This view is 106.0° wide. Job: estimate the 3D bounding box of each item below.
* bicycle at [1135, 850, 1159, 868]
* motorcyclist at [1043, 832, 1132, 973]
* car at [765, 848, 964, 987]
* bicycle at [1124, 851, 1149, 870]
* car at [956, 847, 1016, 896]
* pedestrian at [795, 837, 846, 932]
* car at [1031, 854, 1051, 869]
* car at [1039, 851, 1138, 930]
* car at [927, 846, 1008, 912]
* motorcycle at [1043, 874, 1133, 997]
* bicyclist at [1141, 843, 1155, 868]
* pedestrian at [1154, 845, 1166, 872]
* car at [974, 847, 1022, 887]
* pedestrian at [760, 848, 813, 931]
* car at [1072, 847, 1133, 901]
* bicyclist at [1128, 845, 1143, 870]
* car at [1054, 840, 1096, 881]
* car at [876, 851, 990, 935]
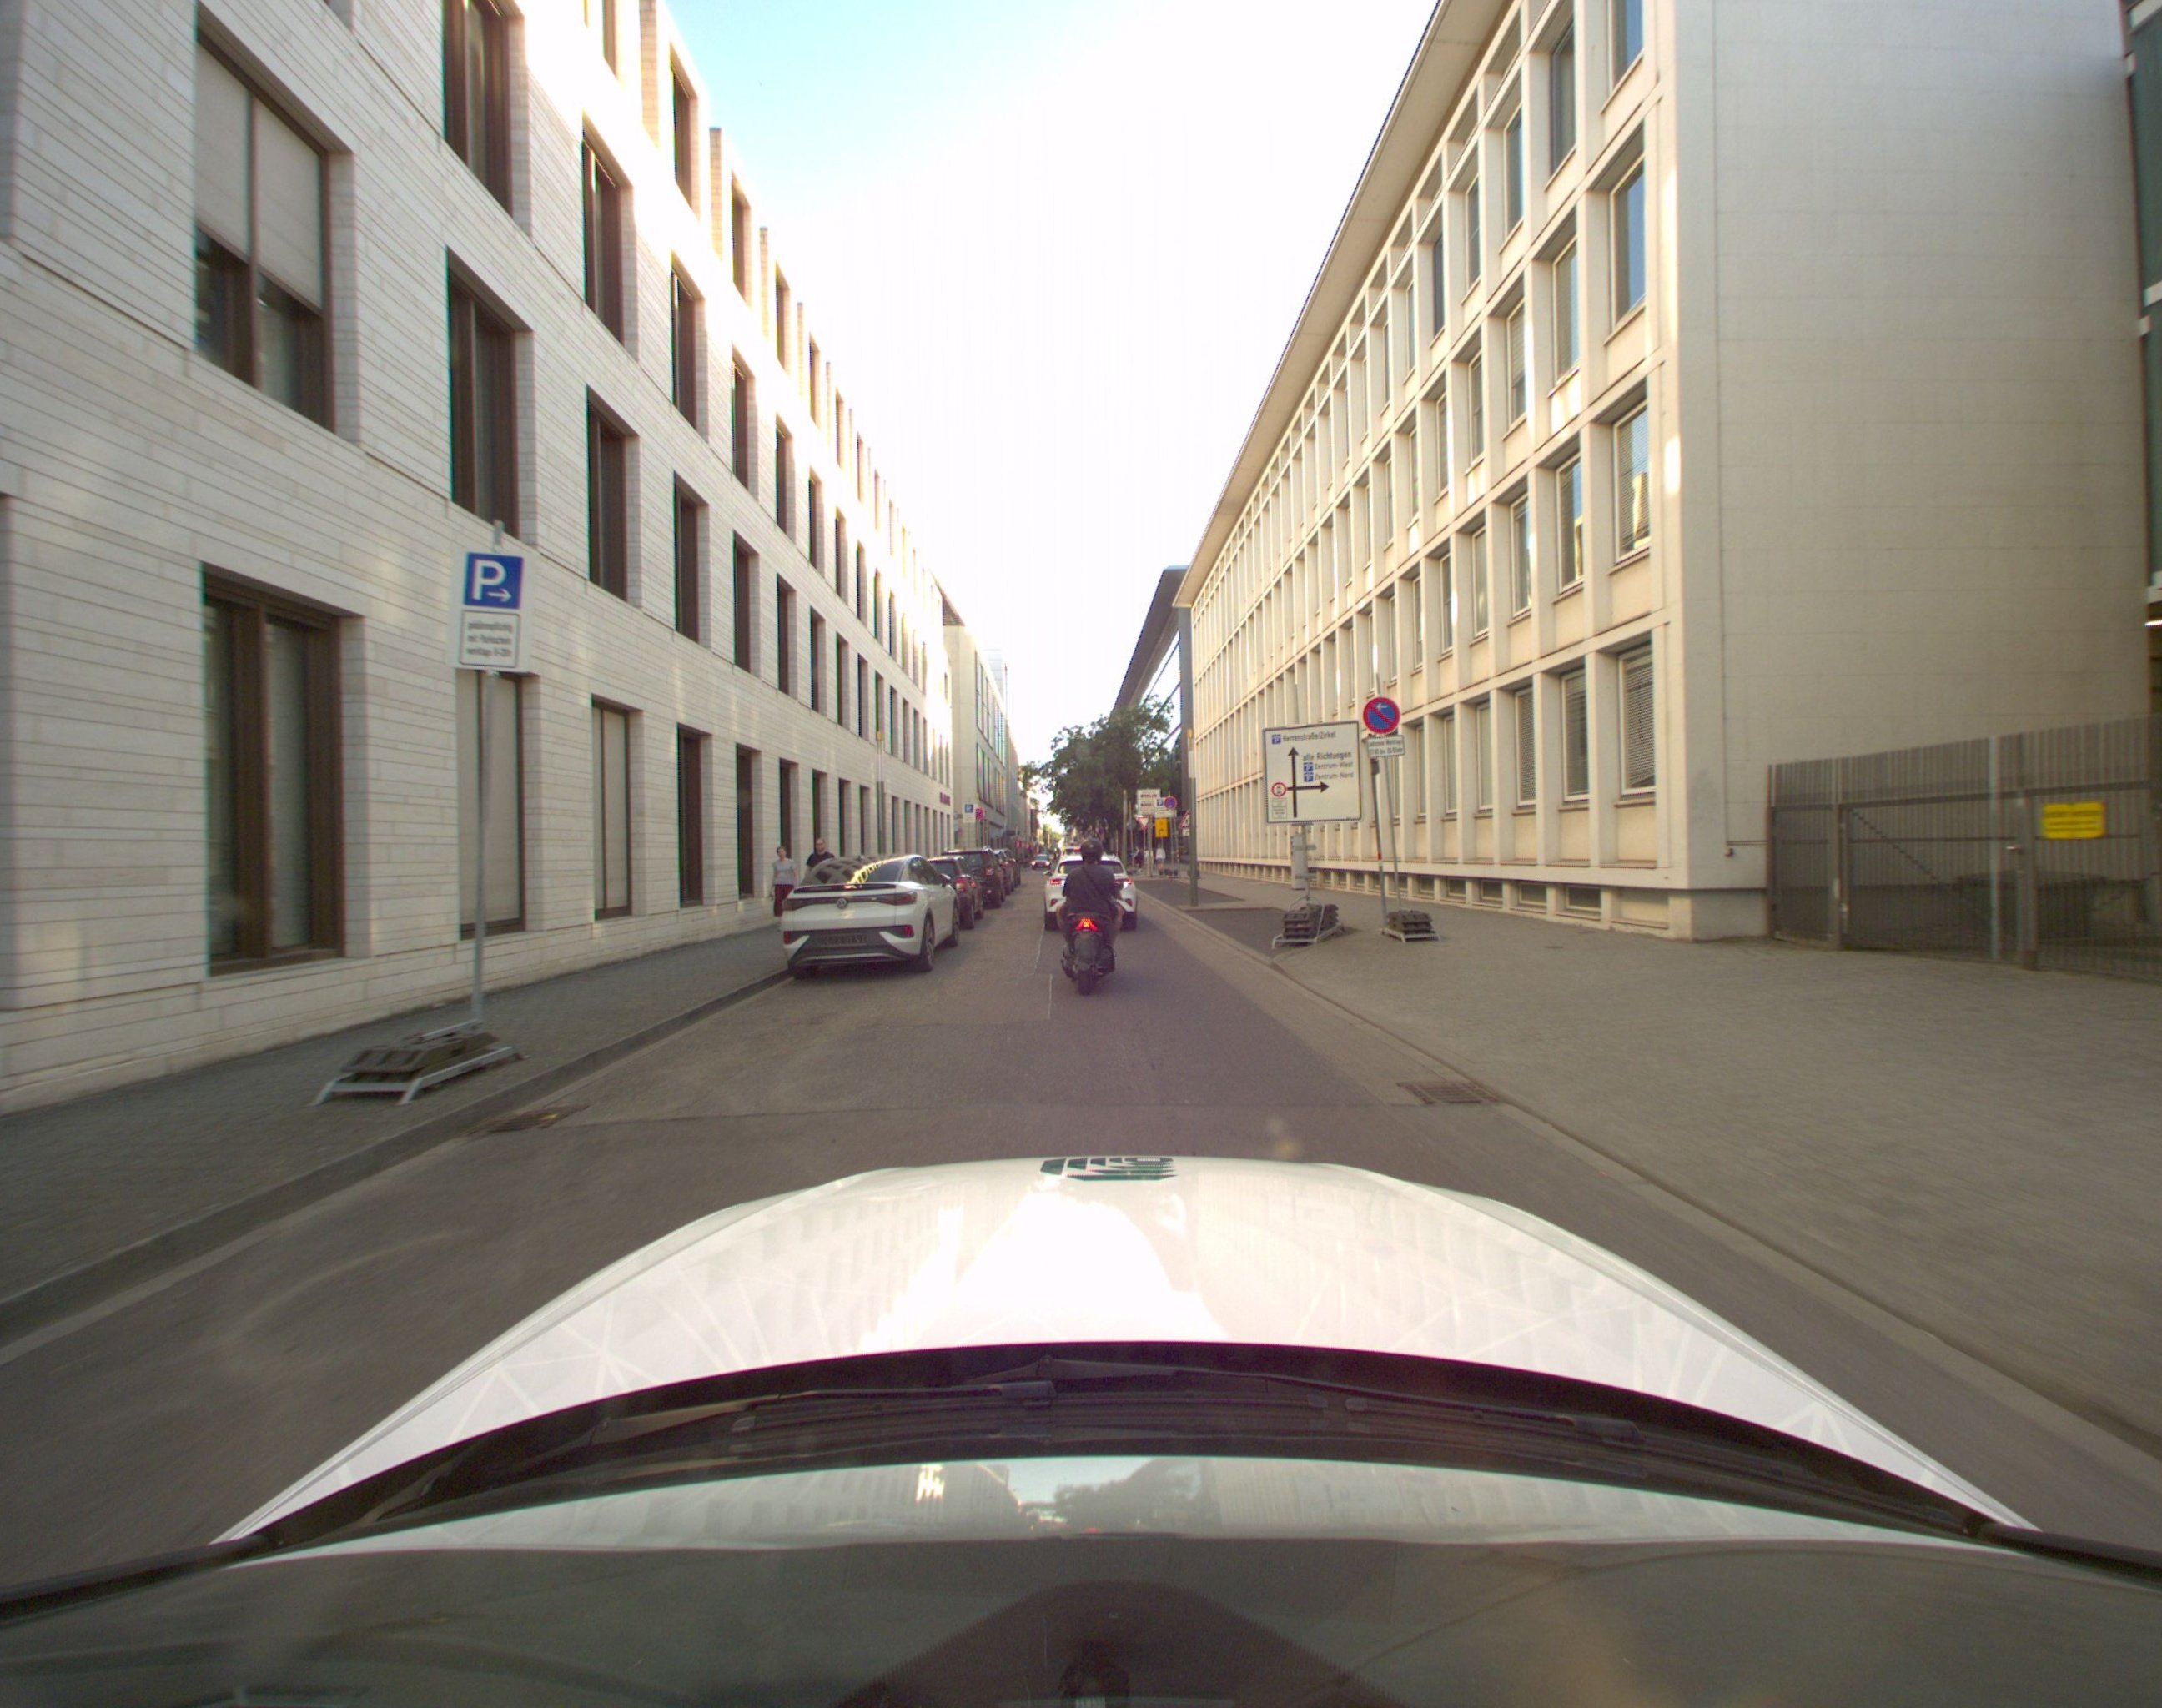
[{"bbox_3d":[4.625,0.353,57.178,1.550,1.249,0.555,-2,0,19],"label":"bicycle"},{"bbox_3d":[0.095,0.540,9.780,0.950,1.559,1.239,-2,0,1],"label":"motorcyclist"},{"bbox_3d":[-2.940,0.759,12.051,1.806,1.606,4.265,-3,0,-1],"label":"car"},{"bbox_3d":[3.816,0.468,55.834,1.550,1.249,0.555,-2,0,19],"label":"bicycle"},{"bbox_3d":[-3.397,0.598,29.673,1.771,1.606,3.513,-3,0,-1],"label":"car"},{"bbox_3d":[-5.074,0.575,15.906,0.702,1.786,0.726,-2,0,-2],"label":"pedestrian"},{"bbox_3d":[-4.025,0.735,82.714,1.943,1.470,3.512,-2,0,-2],"label":"car"},{"bbox_3d":[0.198,0.683,17.327,1.852,1.472,4.002,0,0,2],"label":"car"},{"bbox_3d":[-3.142,0.649,23.191,1.806,1.646,3.513,-3,0,-1],"label":"car"},{"bbox_3d":[0.114,0.879,9.803,0.902,1.183,2.580,-2,0,2],"label":"motorcycle"},{"bbox_3d":[4.703,0.096,57.179,0.741,1.706,0.741,-2,0,19],"label":"bicyclist"},{"bbox_3d":[4.819,0.255,49.860,0.640,1.601,0.620,-2,0,1],"label":"pedestrian"},{"bbox_3d":[-3.597,0.536,35.757,1.771,1.606,3.513,-3,0,-1],"label":"car"},{"bbox_3d":[-5.946,0.689,16.472,0.702,1.613,0.860,-2,0,-1],"label":"pedestrian"},{"bbox_3d":[0.614,0.597,26.333,1.768,1.550,4.105,-2,0,-1],"label":"car"},{"bbox_3d":[3.744,0.232,55.859,0.741,1.706,0.741,-2,0,19],"label":"bicyclist"},{"bbox_3d":[-0.286,0.305,40.813,1.918,1.856,4.000,-2,0,0],"label":"car"},{"bbox_3d":[-3.079,0.754,17.634,1.806,1.527,3.513,-3,0,-1],"label":"car"}]
